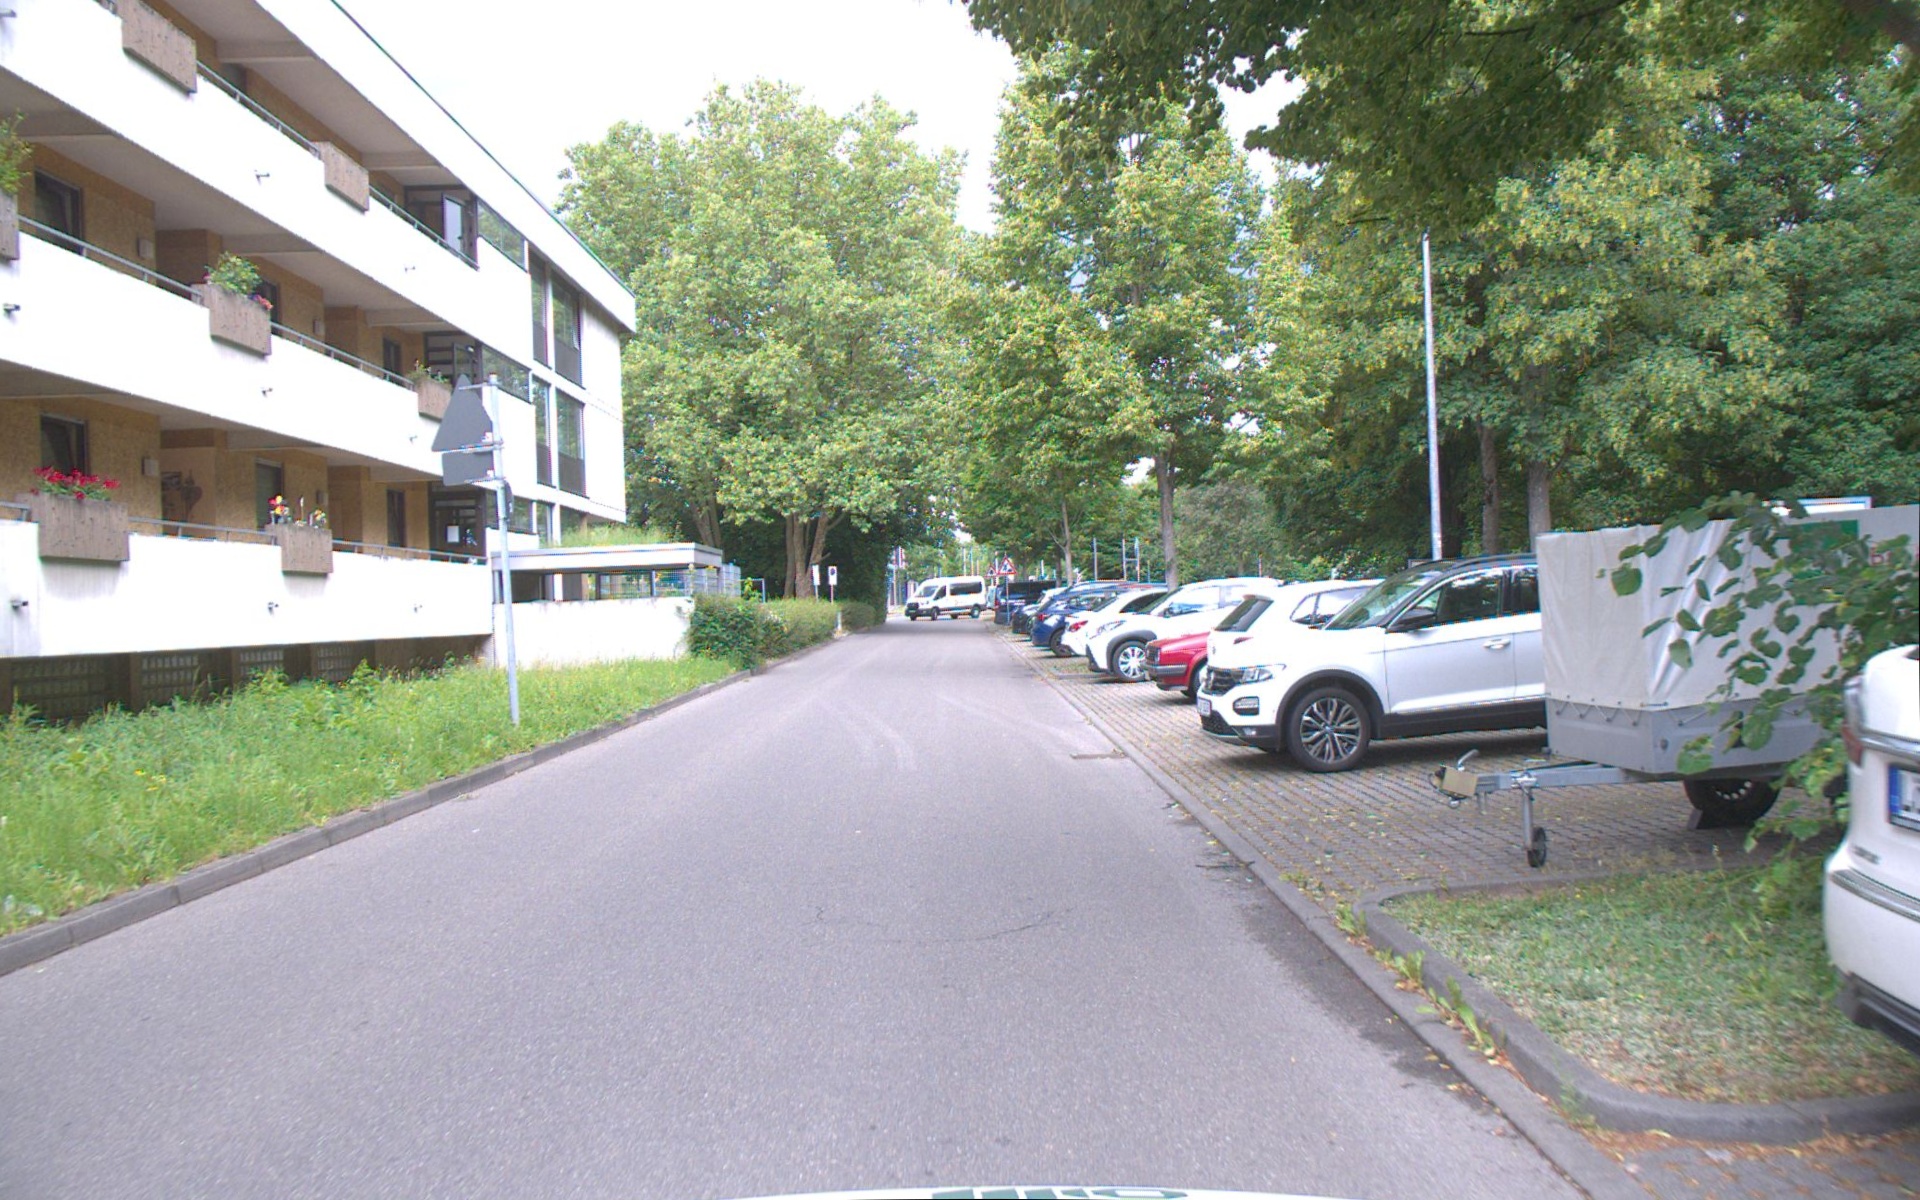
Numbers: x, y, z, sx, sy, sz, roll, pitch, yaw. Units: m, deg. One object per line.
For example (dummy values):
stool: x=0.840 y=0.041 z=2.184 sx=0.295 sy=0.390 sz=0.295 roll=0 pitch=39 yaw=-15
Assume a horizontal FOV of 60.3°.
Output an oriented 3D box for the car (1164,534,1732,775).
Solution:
car: x=3.880 y=0.418 z=13.632 sx=4.032 sy=1.575 sz=1.860 roll=-4 pitch=0 yaw=-3

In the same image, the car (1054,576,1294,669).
car: x=4.141 y=0.440 z=32.460 sx=4.394 sy=1.480 sz=1.846 roll=-4 pitch=0 yaw=-1

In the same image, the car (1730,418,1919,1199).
car: x=4.363 y=0.329 z=3.223 sx=4.718 sy=1.722 sz=1.975 roll=-4 pitch=0 yaw=3

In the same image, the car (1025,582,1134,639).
car: x=3.840 y=0.327 z=53.373 sx=3.310 sy=1.601 sz=1.796 roll=-4 pitch=0 yaw=0

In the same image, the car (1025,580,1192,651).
car: x=3.798 y=0.401 z=42.752 sx=3.993 sy=1.543 sz=1.849 roll=-4 pitch=0 yaw=-4

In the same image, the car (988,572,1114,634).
car: x=3.601 y=0.125 z=66.293 sx=4.853 sy=2.048 sz=2.166 roll=-4 pitch=0 yaw=1

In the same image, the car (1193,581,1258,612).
car: x=15.814 y=-0.207 z=98.663 sx=3.699 sy=1.697 sz=1.769 roll=-3 pitch=-1 yaw=7

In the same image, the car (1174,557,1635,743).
car: x=4.267 y=0.460 z=16.225 sx=3.931 sy=1.446 sz=1.790 roll=-4 pitch=0 yaw=-6

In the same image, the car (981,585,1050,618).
car: x=4.000 y=0.102 z=119.516 sx=4.871 sy=2.006 sz=1.847 roll=-4 pitch=0 yaw=1

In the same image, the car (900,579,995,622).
car: x=-0.730 y=-0.012 z=100.996 sx=2.102 sy=2.519 sz=6.234 roll=-1 pitch=0 yaw=44

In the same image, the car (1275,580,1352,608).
car: x=20.893 y=-0.326 z=97.868 sx=4.300 sy=1.453 sz=1.704 roll=-2 pitch=-1 yaw=6

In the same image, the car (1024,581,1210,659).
car: x=3.527 y=0.449 z=37.604 sx=3.989 sy=1.481 sz=1.851 roll=-4 pitch=0 yaw=0

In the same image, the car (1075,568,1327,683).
car: x=3.811 y=0.406 z=26.690 sx=3.761 sy=1.542 sz=1.881 roll=-4 pitch=0 yaw=2

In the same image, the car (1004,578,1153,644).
car: x=3.604 y=0.312 z=50.765 sx=4.326 sy=1.705 sz=2.082 roll=-4 pitch=0 yaw=-1

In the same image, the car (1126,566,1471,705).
car: x=4.274 y=0.443 z=21.305 sx=3.973 sy=1.446 sz=1.816 roll=-4 pitch=0 yaw=-2

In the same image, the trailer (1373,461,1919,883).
trailer: x=3.873 y=0.304 z=8.515 sx=2.970 sy=1.821 sz=1.562 roll=-4 pitch=0 yaw=-3
